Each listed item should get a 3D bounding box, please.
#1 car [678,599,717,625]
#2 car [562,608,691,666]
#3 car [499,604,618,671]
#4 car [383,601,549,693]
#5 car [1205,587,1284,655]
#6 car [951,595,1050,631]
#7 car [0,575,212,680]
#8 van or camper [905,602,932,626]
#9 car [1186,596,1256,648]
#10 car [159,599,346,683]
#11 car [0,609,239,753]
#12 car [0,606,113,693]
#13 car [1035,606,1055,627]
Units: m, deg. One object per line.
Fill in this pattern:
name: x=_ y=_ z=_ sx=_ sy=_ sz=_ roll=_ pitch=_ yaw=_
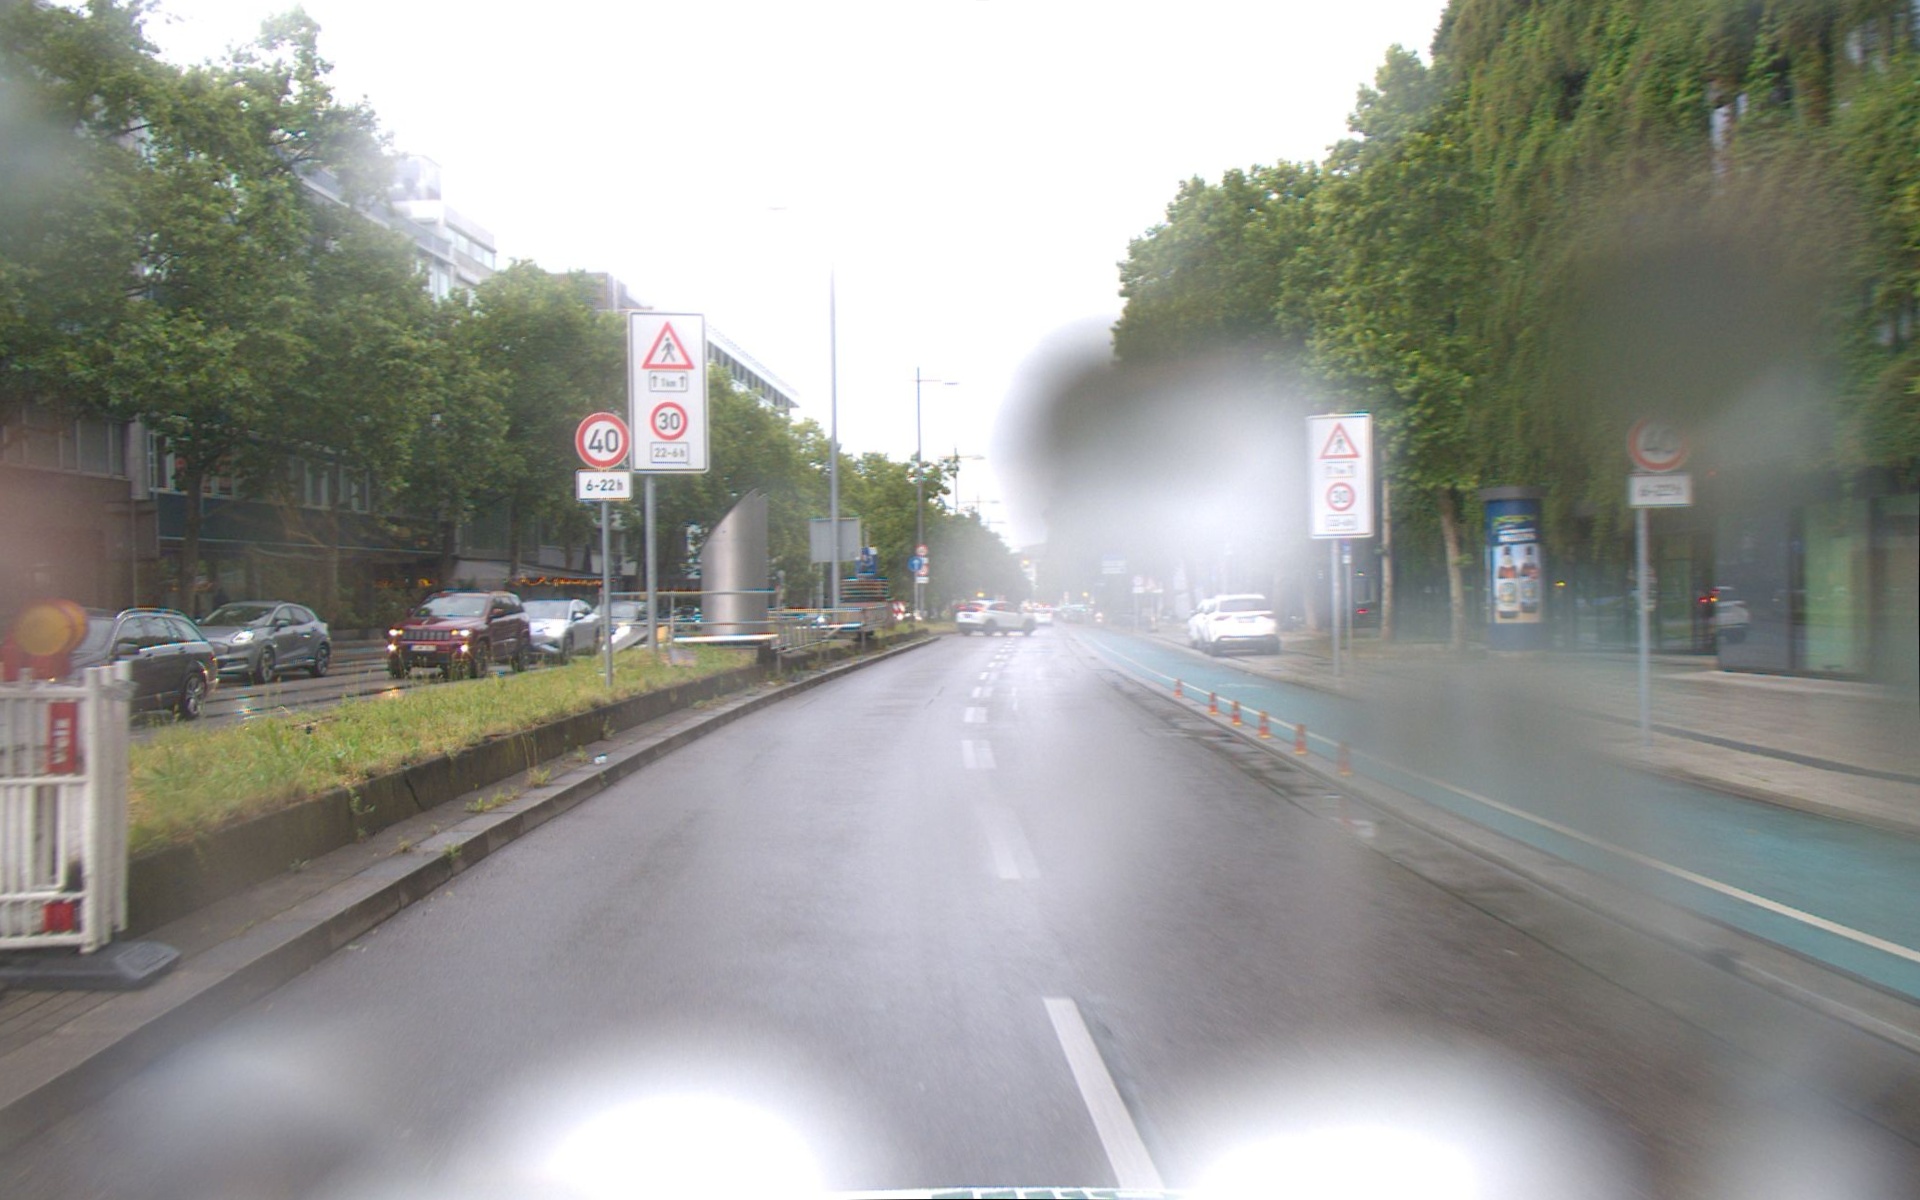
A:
car: x=-15.928 y=0.698 z=100.317 sx=1.658 sy=1.494 sz=3.461 roll=0 pitch=0 yaw=2
car: x=-9.864 y=1.070 z=49.321 sx=1.873 sy=1.579 sz=4.544 roll=0 pitch=0 yaw=17
car: x=-10.442 y=0.947 z=43.339 sx=1.698 sy=1.601 sz=4.834 roll=0 pitch=0 yaw=3
car: x=-10.478 y=0.937 z=35.501 sx=1.797 sy=1.797 sz=5.111 roll=0 pitch=0 yaw=3
car: x=8.464 y=0.573 z=49.543 sx=1.804 sy=1.870 sz=5.097 roll=-2 pitch=0 yaw=5
car: x=1.975 y=0.612 z=79.990 sx=4.851 sy=1.684 sz=1.968 roll=-1 pitch=0 yaw=-44
car: x=-14.037 y=0.431 z=27.158 sx=1.717 sy=1.592 sz=4.000 roll=0 pitch=0 yaw=0
van or camper: x=-3.583 y=1.179 z=143.339 sx=1.952 sy=1.947 sz=5.253 roll=0 pitch=0 yaw=2
car: x=8.755 y=0.708 z=55.766 sx=1.805 sy=1.661 sz=4.788 roll=0 pitch=0 yaw=2
car: x=-13.984 y=0.768 z=32.987 sx=1.684 sy=1.517 sz=4.570 roll=0 pitch=0 yaw=1
car: x=-10.849 y=0.885 z=20.195 sx=1.805 sy=1.476 sz=4.918 roll=0 pitch=0 yaw=2
car: x=-17.252 y=0.849 z=29.561 sx=1.852 sy=1.472 sz=4.588 roll=0 pitch=0 yaw=0
car: x=7.133 y=1.386 z=139.353 sx=1.587 sy=1.695 sz=4.001 roll=-2 pitch=0 yaw=2
